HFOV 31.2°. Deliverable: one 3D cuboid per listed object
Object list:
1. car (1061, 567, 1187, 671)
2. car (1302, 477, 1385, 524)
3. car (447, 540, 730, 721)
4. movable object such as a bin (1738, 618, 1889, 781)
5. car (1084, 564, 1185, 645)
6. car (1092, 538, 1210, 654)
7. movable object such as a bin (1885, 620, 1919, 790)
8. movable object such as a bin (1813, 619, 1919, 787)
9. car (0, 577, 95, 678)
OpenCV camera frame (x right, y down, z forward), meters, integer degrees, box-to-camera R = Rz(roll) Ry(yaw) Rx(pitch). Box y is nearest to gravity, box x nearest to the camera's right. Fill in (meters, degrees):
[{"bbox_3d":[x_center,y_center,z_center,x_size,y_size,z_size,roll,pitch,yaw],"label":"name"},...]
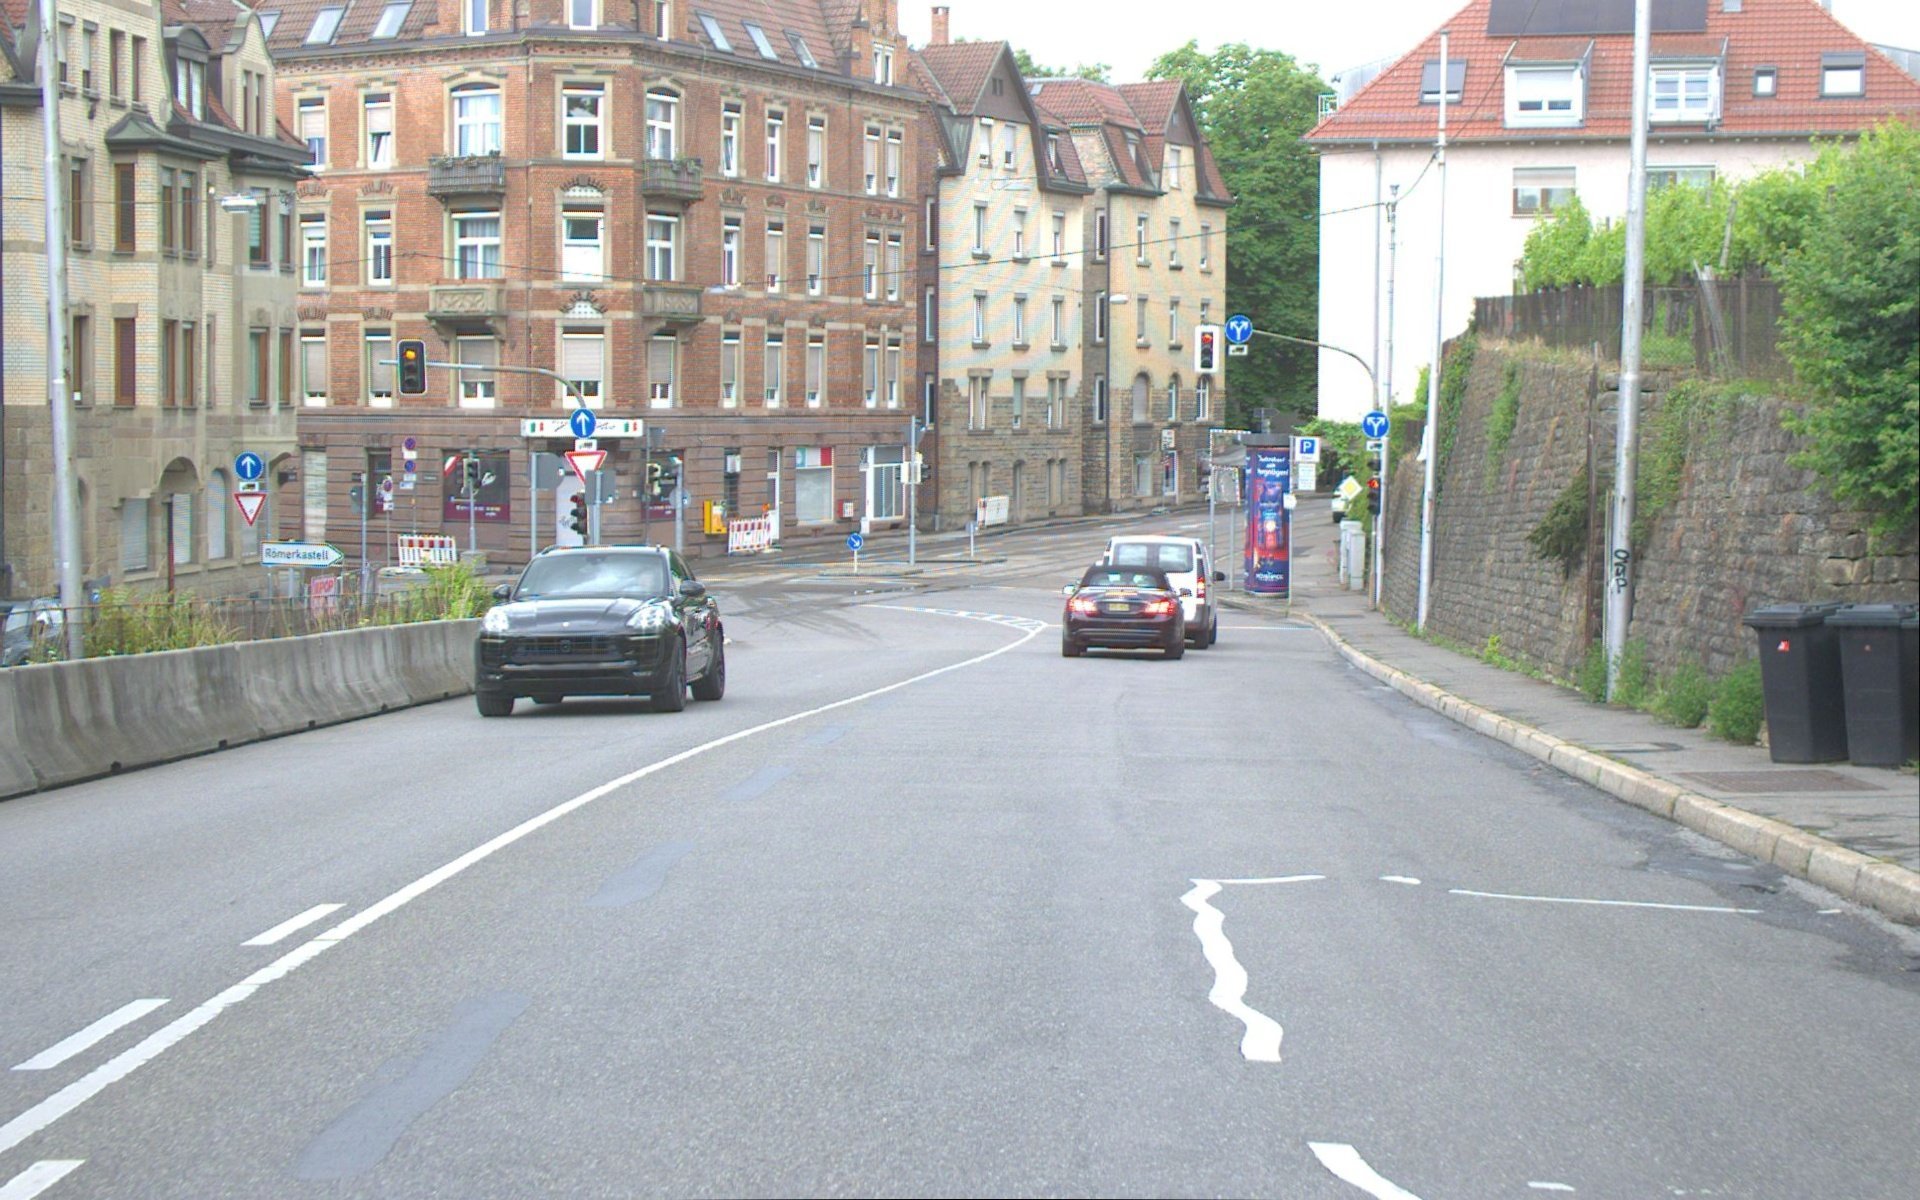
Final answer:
[{"bbox_3d":[2.539,0.259,52.492,1.817,1.425,4.000,2,2,4],"label":"car"},{"bbox_3d":[14.394,-3.754,128.873,1.844,1.696,3.995,2,3,26],"label":"car"},{"bbox_3d":[-3.539,0.241,33.588,1.982,1.569,4.375,-2,1,4],"label":"car"},{"bbox_3d":[5.701,0.653,22.988,0.742,1.055,0.679,0,1,-15],"label":"movable object such as a bin"},{"bbox_3d":[3.398,0.069,66.501,1.841,1.436,4.000,2,1,4],"label":"car"},{"bbox_3d":[3.320,-0.106,59.290,1.909,1.877,4.000,2,1,4],"label":"car"},{"bbox_3d":[6.317,0.656,21.580,0.742,1.055,0.679,0,1,-15],"label":"movable object such as a bin"},{"bbox_3d":[6.055,0.658,22.351,0.742,1.055,0.679,0,1,-15],"label":"movable object such as a bin"},{"bbox_3d":[-16.485,0.447,59.048,1.795,1.505,4.000,-1,3,7],"label":"car"}]
